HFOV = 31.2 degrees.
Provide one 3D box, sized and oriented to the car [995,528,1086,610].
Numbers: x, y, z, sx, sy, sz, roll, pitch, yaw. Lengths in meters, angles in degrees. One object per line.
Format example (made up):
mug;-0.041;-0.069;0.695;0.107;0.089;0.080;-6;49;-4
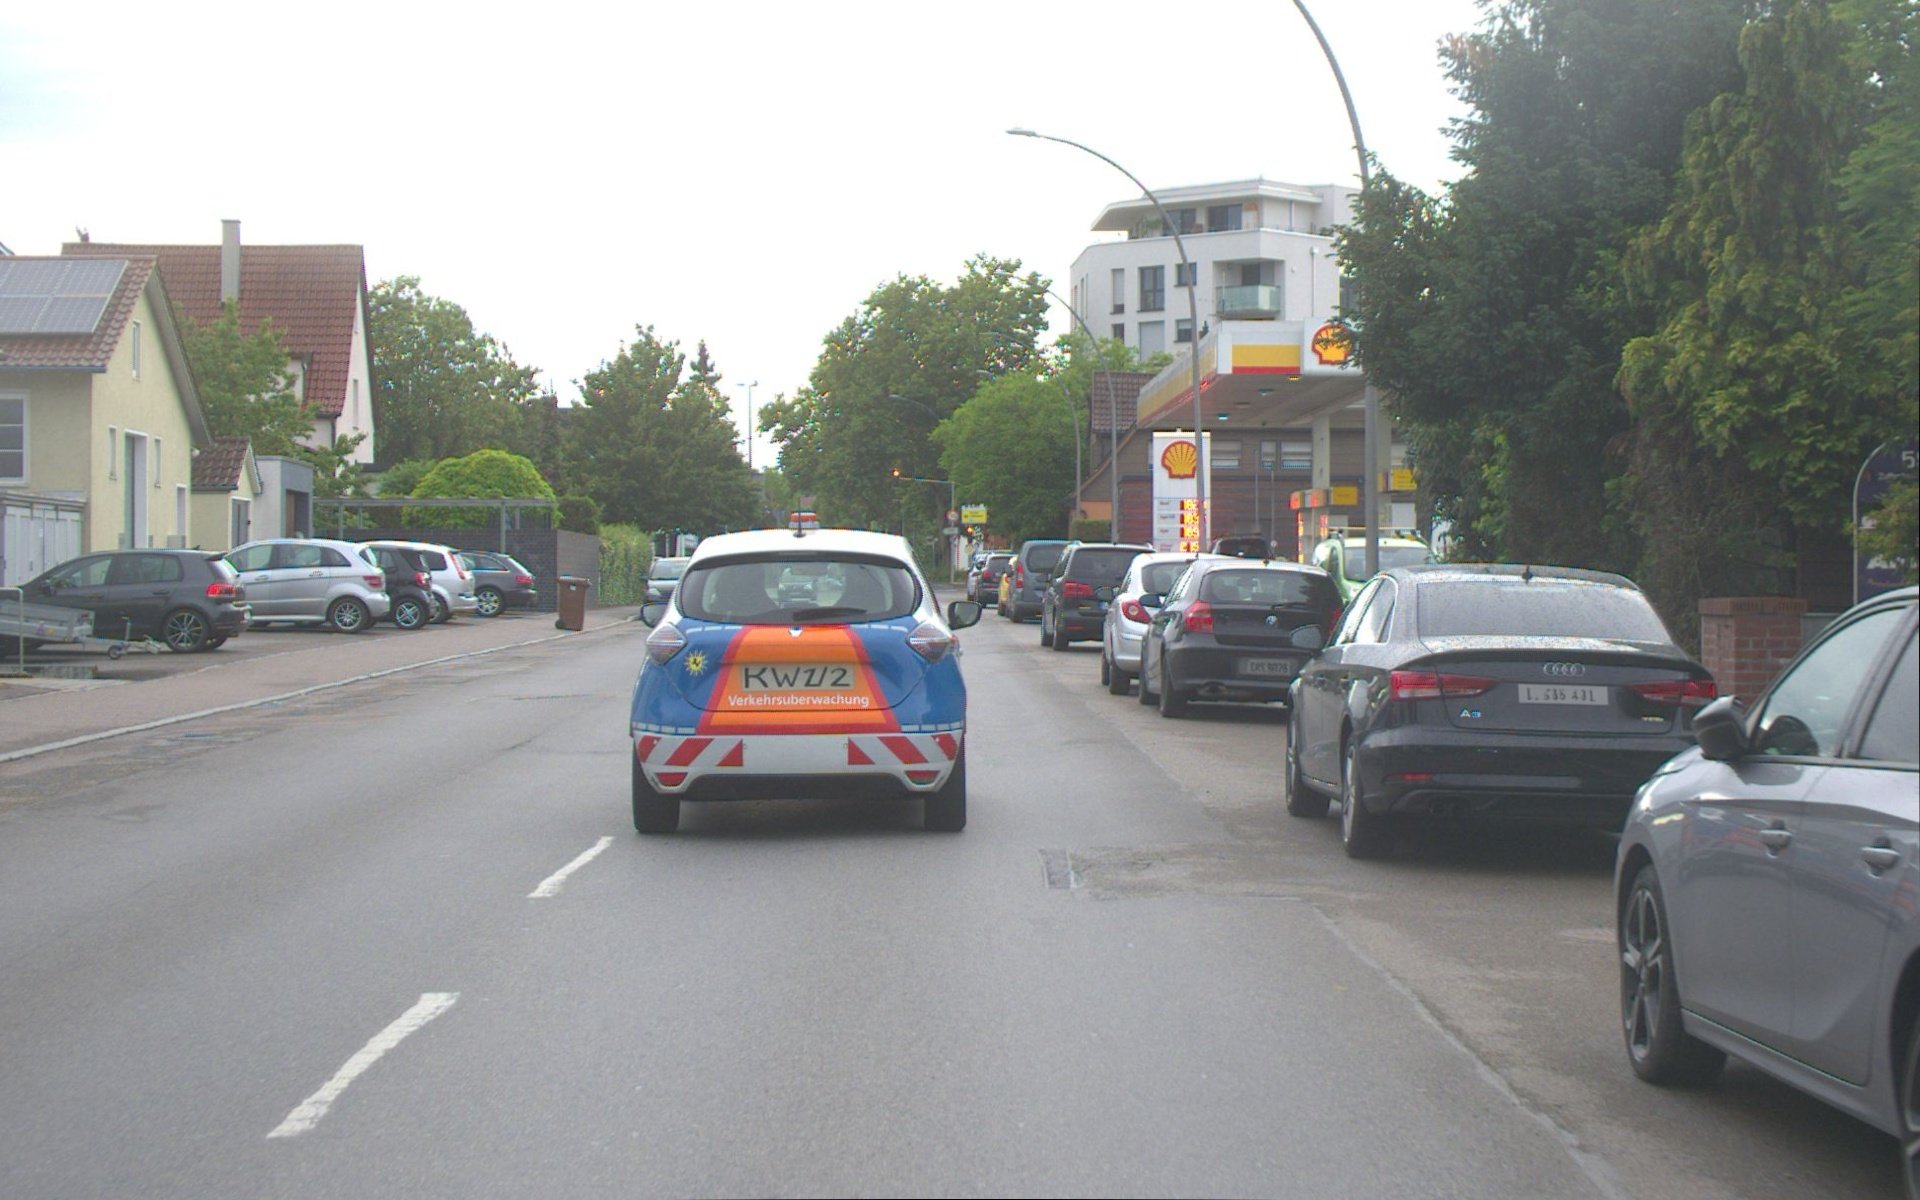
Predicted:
car;1.700;-0.669;73.792;1.650;1.666;4.001;2;1;-2

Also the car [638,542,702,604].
car;-7.100;-0.683;84.388;1.386;1.478;3.784;0;1;-2

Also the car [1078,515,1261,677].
car;2.140;-0.051;35.935;1.481;1.550;3.862;2;0;-2

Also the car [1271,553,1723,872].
car;2.578;0.473;17.364;1.605;1.369;4.087;2;1;0

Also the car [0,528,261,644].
car;-11.811;-0.208;48.578;3.579;1.521;1.656;2;1;-5

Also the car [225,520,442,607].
car;-11.541;-0.672;63.523;3.759;1.478;1.656;2;1;-5

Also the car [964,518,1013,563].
car;1.105;-2.295;133.066;1.650;1.647;4.001;2;1;-2

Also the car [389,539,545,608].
car;-10.793;-0.580;75.443;3.281;1.443;1.480;-1;1;-5

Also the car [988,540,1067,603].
car;1.647;-0.717;84.615;1.650;1.478;4.001;2;1;-2

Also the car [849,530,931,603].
car;-1.550;-0.747;75.048;1.650;1.516;4.001;2;1;-2

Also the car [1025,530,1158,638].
car;1.957;-0.264;52.021;1.650;1.516;4.001;2;1;-2

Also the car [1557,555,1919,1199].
car;2.621;0.652;8.245;1.539;1.424;3.751;2;1;-2

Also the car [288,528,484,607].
car;-11.228;-0.649;67.422;3.653;1.478;1.480;-1;1;-5

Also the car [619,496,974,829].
car;-0.848;0.281;18.635;1.731;1.625;3.495;0;1;-1

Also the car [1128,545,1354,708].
car;2.472;0.191;31.071;1.650;1.331;4.000;0;2;-1

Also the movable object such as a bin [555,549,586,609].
movable object such as a bin;-7.872;-0.426;69.508;0.579;1.200;0.318;1;1;-1

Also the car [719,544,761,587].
car;-6.564;-1.042;102.753;1.151;1.228;3.373;0;2;-2

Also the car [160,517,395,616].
car;-11.716;-0.579;59.160;3.759;1.571;1.656;2;1;-5

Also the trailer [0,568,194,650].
trailer;-12.467;0.094;46.111;4.022;0.991;1.655;2;1;-2

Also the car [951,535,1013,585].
car;0.658;-1.239;105.720;1.650;1.478;4.001;2;1;-2
